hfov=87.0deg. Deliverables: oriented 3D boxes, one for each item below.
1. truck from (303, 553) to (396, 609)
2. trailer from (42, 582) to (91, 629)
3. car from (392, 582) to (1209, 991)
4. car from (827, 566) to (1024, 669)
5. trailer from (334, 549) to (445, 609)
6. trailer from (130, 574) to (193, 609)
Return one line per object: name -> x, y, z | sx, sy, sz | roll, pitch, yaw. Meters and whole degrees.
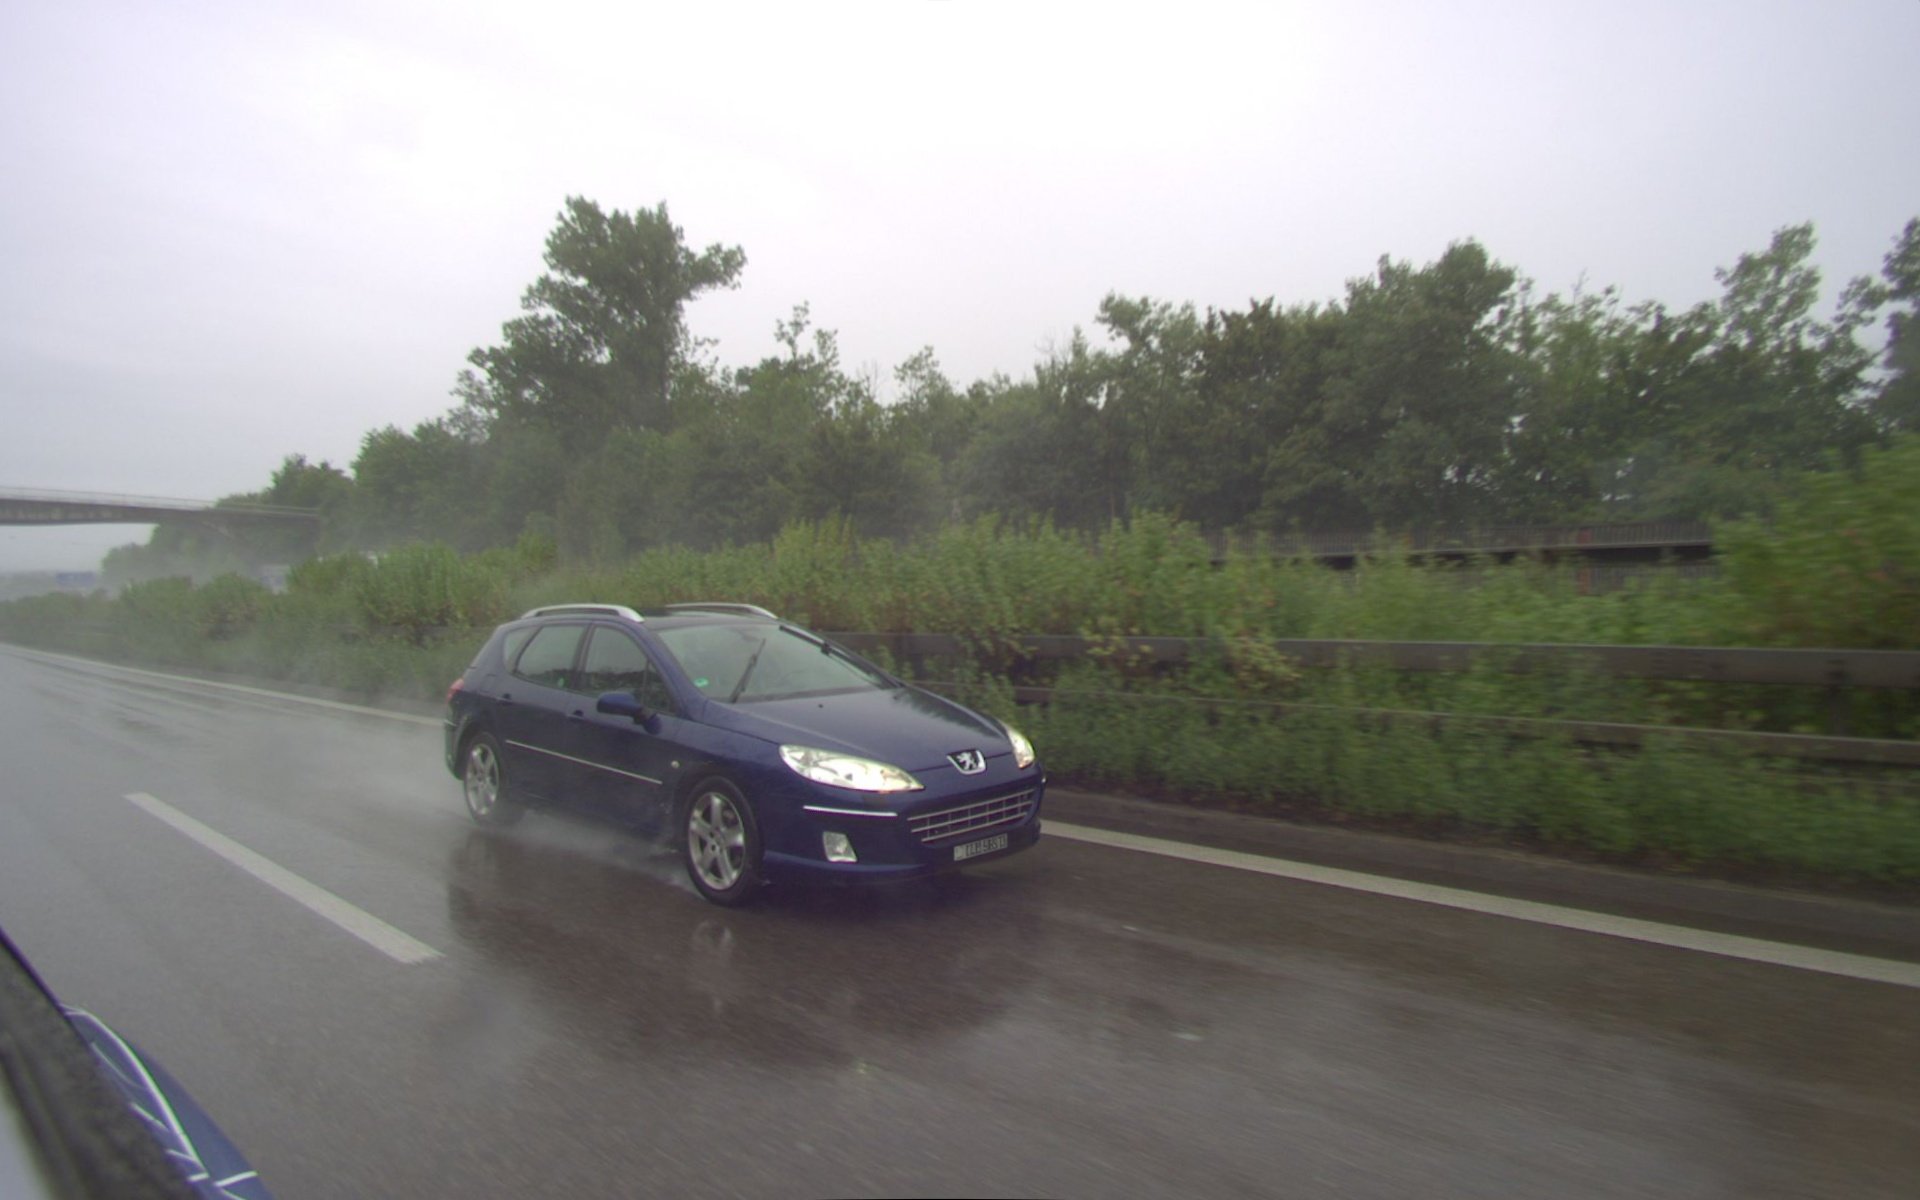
truck -> -28.947, -0.830, 47.917 | 5.341, 2.441, 2.216 | -1, 0, 41
trailer -> -109.221, 0.694, 123.589 | 11.547, 5.499, 3.391 | -1, -1, 43
car -> -1.322, 0.691, 6.155 | 5.154, 1.496, 2.033 | -1, 0, 40
car -> -0.799, 0.370, 21.989 | 3.998, 2.029, 1.973 | -1, 0, 41
trailer -> -25.218, -0.874, 44.566 | 6.646, 2.446, 2.247 | -1, 0, 42
trailer -> -82.851, -0.795, 104.884 | 11.547, 3.410, 3.391 | -1, -1, 43
